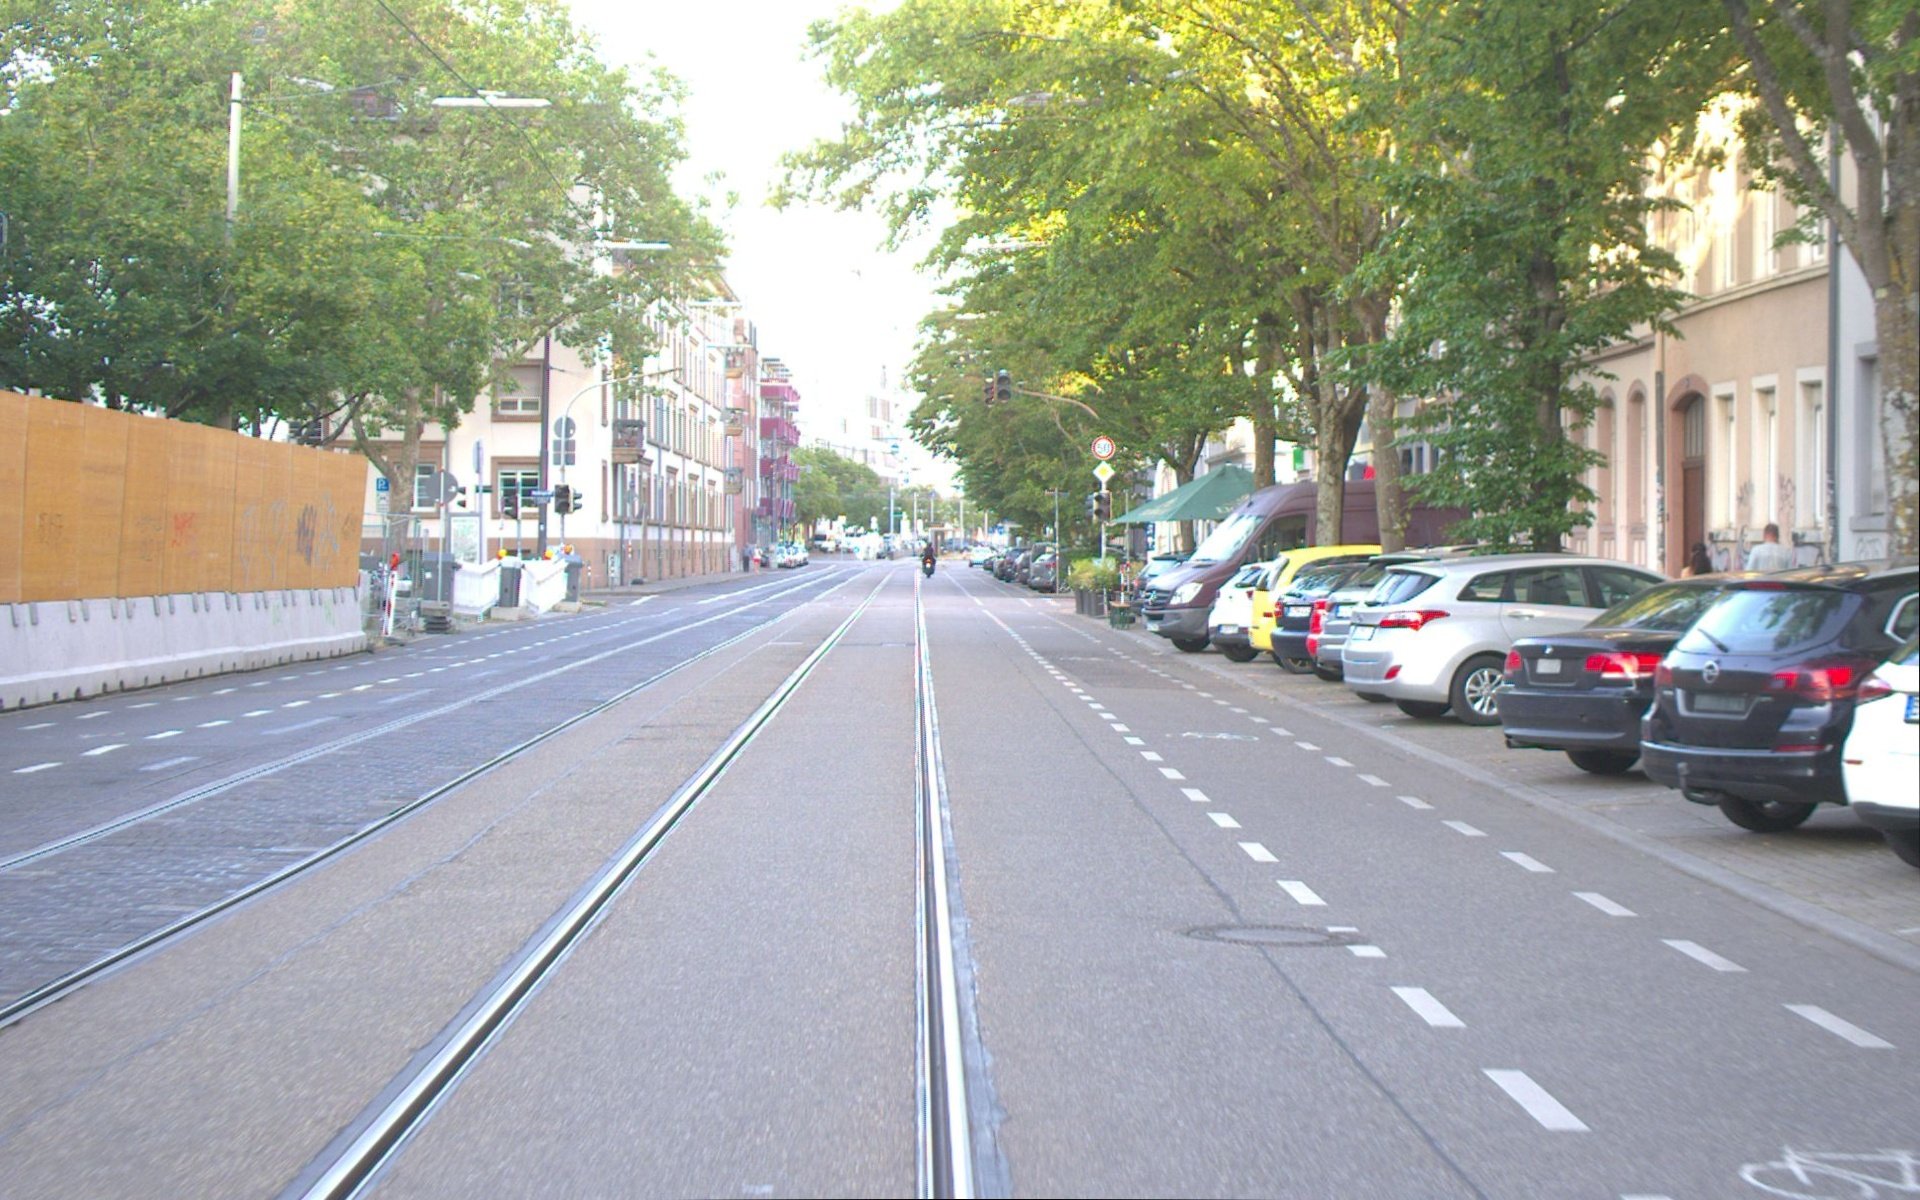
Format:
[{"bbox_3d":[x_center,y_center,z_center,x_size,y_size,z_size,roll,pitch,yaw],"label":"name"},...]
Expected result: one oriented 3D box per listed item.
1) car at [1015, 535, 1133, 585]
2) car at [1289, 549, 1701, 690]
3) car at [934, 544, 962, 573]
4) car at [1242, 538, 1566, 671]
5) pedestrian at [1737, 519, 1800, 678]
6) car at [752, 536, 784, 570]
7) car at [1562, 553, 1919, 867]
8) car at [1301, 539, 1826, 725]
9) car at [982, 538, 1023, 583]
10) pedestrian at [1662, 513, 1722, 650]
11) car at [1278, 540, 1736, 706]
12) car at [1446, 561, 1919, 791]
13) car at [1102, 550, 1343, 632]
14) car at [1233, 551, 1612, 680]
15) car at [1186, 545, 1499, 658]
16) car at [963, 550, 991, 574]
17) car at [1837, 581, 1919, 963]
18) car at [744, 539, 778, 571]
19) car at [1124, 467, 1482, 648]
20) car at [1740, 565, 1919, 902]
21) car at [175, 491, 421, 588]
[{"bbox_3d":[3.825,-1.348,115.711,3.887,1.587,1.861,1,1,1],"label":"car"},{"bbox_3d":[5.922,0.195,38.040,4.120,1.420,1.898,-1,0,-26],"label":"car"},{"bbox_3d":[-0.846,-2.919,240.473,1.898,2.007,4.000,1,1,-1],"label":"car"},{"bbox_3d":[5.739,0.049,44.788,3.950,1.614,1.921,-1,0,0],"label":"car"},{"bbox_3d":[9.235,-0.019,39.296,0.565,1.808,0.607,0,1,0],"label":"pedestrian"},{"bbox_3d":[-12.570,-3.077,225.590,1.898,2.171,4.000,1,1,-1],"label":"car"},{"bbox_3d":[5.624,0.486,18.839,4.115,1.465,2.016,-3,2,-25],"label":"car"},{"bbox_3d":[5.455,0.265,31.339,4.249,1.543,2.020,-1,1,-11],"label":"car"},{"bbox_3d":[1.967,-1.856,160.794,1.804,2.007,4.000,1,1,-1],"label":"car"},{"bbox_3d":[8.486,-0.218,39.862,0.538,1.563,0.813,0,1,1],"label":"pedestrian"},{"bbox_3d":[5.618,0.211,35.324,4.249,1.555,1.898,-1,0,-23],"label":"car"},{"bbox_3d":[5.688,0.456,23.447,4.249,1.387,2.016,-1,1,-24],"label":"car"},{"bbox_3d":[5.081,-0.182,66.478,4.174,1.493,2.009,-1,0,-25],"label":"car"},{"bbox_3d":[5.570,0.168,41.387,4.120,1.420,1.921,-1,0,-26],"label":"car"},{"bbox_3d":[5.406,0.012,48.630,3.949,1.481,1.921,-1,0,-24],"label":"car"},{"bbox_3d":[1.225,-2.761,251.351,1.963,1.713,4.000,1,1,-1],"label":"car"},{"bbox_3d":[5.768,0.575,13.715,4.115,1.465,1.824,-3,1,-24],"label":"car"},{"bbox_3d":[-12.780,-2.896,220.946,1.898,2.007,4.000,1,1,-1],"label":"car"},{"bbox_3d":[5.312,-0.667,53.357,5.093,2.633,2.022,-2,1,-17],"label":"car"},{"bbox_3d":[6.042,0.514,16.406,4.115,1.465,1.987,-3,2,-25],"label":"car"},{"bbox_3d":[-14.993,-1.385,78.036,5.027,1.938,2.227,3,1,4],"label":"car"}]
